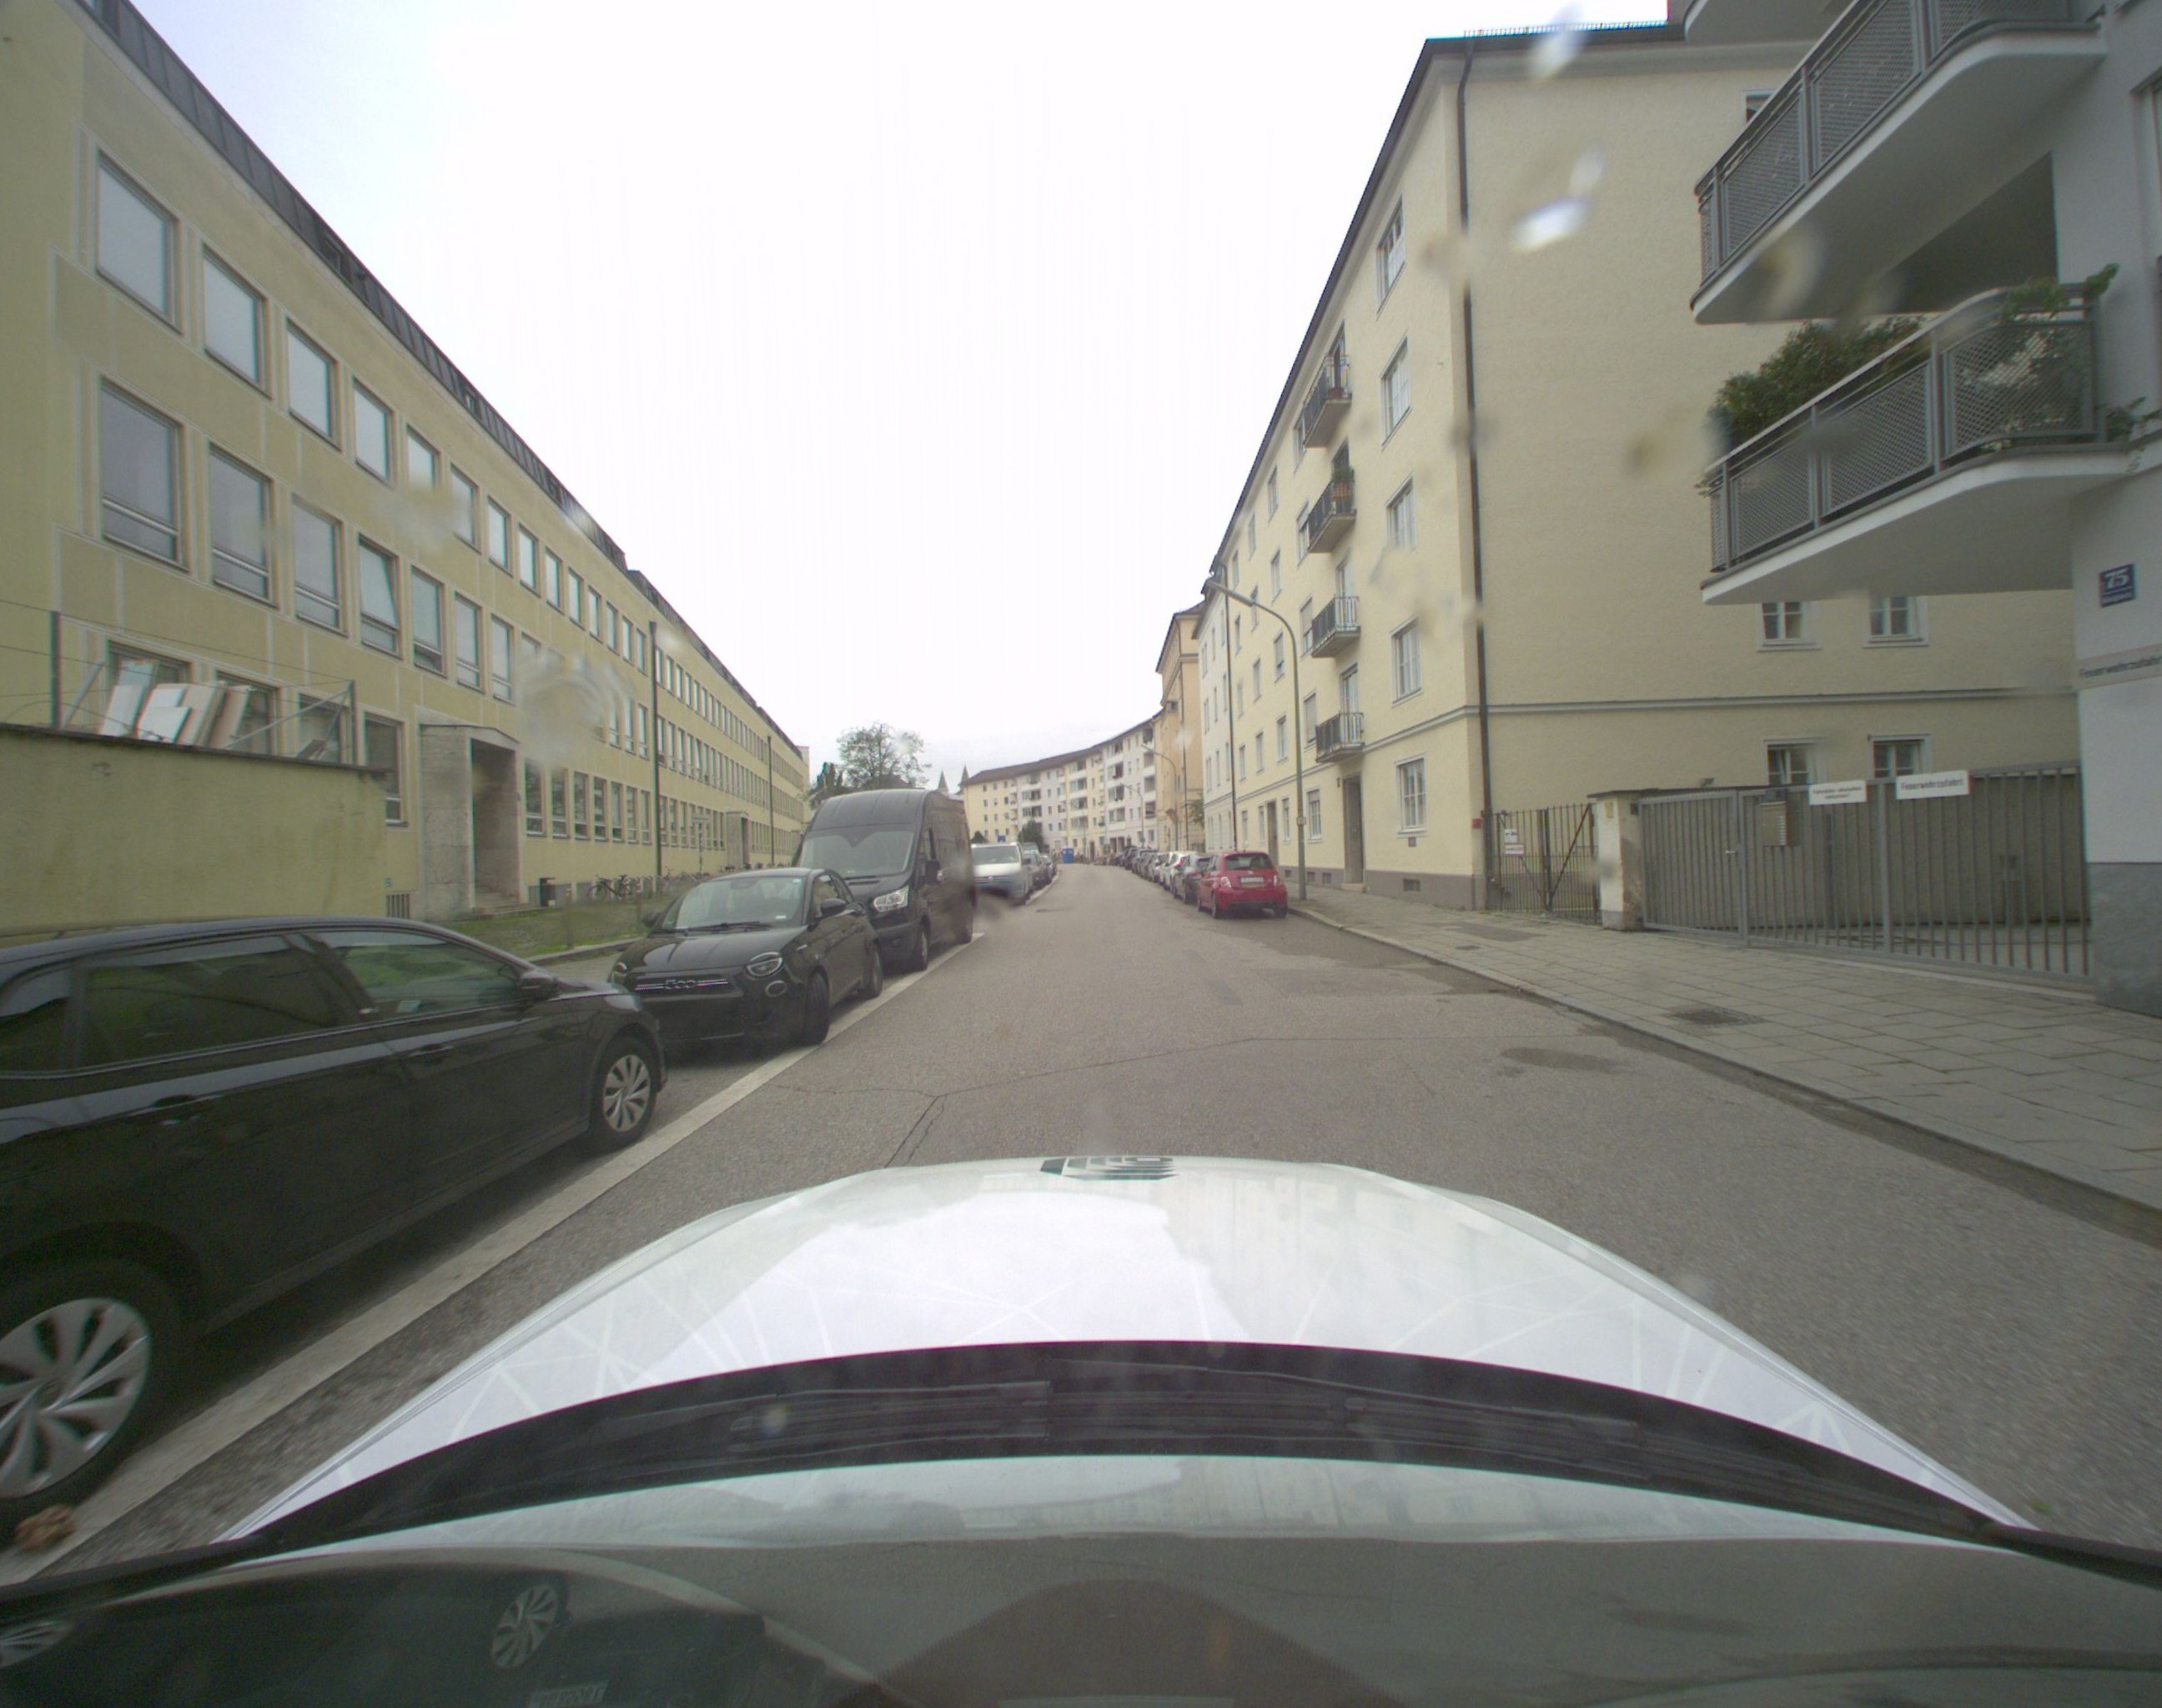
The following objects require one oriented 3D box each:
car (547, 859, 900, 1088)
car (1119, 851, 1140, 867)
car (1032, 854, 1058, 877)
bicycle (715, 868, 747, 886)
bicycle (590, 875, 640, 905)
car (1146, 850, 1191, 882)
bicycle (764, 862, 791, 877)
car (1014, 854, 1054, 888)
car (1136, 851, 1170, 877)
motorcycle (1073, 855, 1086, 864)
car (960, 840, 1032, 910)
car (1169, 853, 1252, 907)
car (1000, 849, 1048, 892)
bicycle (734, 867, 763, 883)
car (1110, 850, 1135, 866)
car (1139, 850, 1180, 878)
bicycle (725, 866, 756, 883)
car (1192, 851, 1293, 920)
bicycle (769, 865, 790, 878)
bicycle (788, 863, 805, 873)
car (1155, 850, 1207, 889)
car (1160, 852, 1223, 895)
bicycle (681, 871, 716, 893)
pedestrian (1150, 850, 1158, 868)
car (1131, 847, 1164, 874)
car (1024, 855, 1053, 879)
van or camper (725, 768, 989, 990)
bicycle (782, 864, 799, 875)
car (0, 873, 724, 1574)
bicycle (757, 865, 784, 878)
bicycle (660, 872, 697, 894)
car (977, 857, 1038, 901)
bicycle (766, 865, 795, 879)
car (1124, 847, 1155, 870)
[{"bbox_3d":[-2.983,0.859,7.774,1.648,1.497,3.906,-4,0,-2],"label":"car"},{"bbox_3d":[4.448,0.430,75.359,1.627,1.417,3.676,-1,0,-2],"label":"car"},{"bbox_3d":[-2.539,0.781,57.696,1.626,1.494,4.273,-4,0,-1],"label":"car"},{"bbox_3d":[-19.332,1.249,44.983,1.608,0.945,0.500,0,0,-18],"label":"bicycle"},{"bbox_3d":[-15.154,1.163,26.518,1.415,0.945,0.410,0,0,-28],"label":"bicycle"},{"bbox_3d":[4.251,0.565,40.200,1.719,1.450,4.186,-1,0,-1],"label":"car"},{"bbox_3d":[-23.504,1.218,63.097,1.849,1.096,0.698,0,0,-17],"label":"bicycle"},{"bbox_3d":[-2.328,0.826,41.366,1.625,1.494,3.820,-4,0,1],"label":"car"},{"bbox_3d":[4.393,0.583,50.143,1.821,1.450,4.085,-1,0,1],"label":"car"},{"bbox_3d":[-0.224,0.714,114.136,0.936,1.221,2.487,-1,0,-23],"label":"motorcycle"},{"bbox_3d":[-2.612,0.593,26.034,1.910,1.960,4.957,-2,0,-2],"label":"car"},{"bbox_3d":[3.767,0.703,24.375,1.767,1.429,4.615,-1,0,0],"label":"car"},{"bbox_3d":[-2.472,0.680,36.329,1.709,1.689,4.141,-3,0,1],"label":"car"},{"bbox_3d":[-20.200,1.250,49.537,1.611,0.945,0.499,0,0,-24],"label":"bicycle"},{"bbox_3d":[4.138,0.406,81.751,1.904,1.477,4.940,-1,0,-3],"label":"car"},{"bbox_3d":[4.272,0.525,44.987,1.869,1.450,4.678,-1,0,0],"label":"car"},{"bbox_3d":[-19.752,1.192,47.207,1.608,0.945,0.500,0,0,-18],"label":"bicycle"},{"bbox_3d":[3.738,0.675,19.397,1.649,1.429,3.756,-1,0,0],"label":"car"},{"bbox_3d":[-22.845,1.317,61.720,1.415,0.945,0.410,0,0,-28],"label":"bicycle"},{"bbox_3d":[-26.595,1.300,76.235,1.474,0.945,0.412,0,0,-17],"label":"bicycle"},{"bbox_3d":[4.248,0.613,35.149,1.646,1.543,3.991,-1,0,-1],"label":"car"},{"bbox_3d":[3.989,0.657,29.948,1.719,1.429,4.293,-1,0,0],"label":"car"},{"bbox_3d":[-17.556,1.279,37.412,1.408,0.945,0.412,0,0,-12],"label":"bicycle"},{"bbox_3d":[7.159,0.481,79.985,0.615,1.690,0.919,-5,0,1],"label":"pedestrian"},{"bbox_3d":[4.445,0.410,55.006,1.841,1.663,4.497,-1,0,-1],"label":"car"},{"bbox_3d":[-2.730,0.832,52.713,1.736,1.422,4.291,-1,0,-2],"label":"car"},{"bbox_3d":[-3.144,0.305,13.044,2.283,2.650,5.565,-4,0,3],"label":"van or camper"},{"bbox_3d":[-25.238,1.327,70.781,1.410,0.945,0.412,0,0,-17],"label":"bicycle"},{"bbox_3d":[-3.278,0.909,3.407,1.670,1.436,4.284,-4,0,-1],"label":"car"},{"bbox_3d":[-23.027,1.282,60.350,1.863,0.945,0.412,0,0,-18],"label":"bicycle"},{"bbox_3d":[-17.751,1.262,35.923,1.403,0.945,0.414,0,0,-3],"label":"bicycle"},{"bbox_3d":[-2.724,0.913,30.985,1.798,1.406,3.710,-4,0,1],"label":"car"},{"bbox_3d":[-22.086,1.323,59.829,1.953,0.945,0.412,0,0,-12],"label":"bicycle"},{"bbox_3d":[4.614,0.345,65.085,2.162,1.739,5.025,-1,0,1],"label":"car"}]
